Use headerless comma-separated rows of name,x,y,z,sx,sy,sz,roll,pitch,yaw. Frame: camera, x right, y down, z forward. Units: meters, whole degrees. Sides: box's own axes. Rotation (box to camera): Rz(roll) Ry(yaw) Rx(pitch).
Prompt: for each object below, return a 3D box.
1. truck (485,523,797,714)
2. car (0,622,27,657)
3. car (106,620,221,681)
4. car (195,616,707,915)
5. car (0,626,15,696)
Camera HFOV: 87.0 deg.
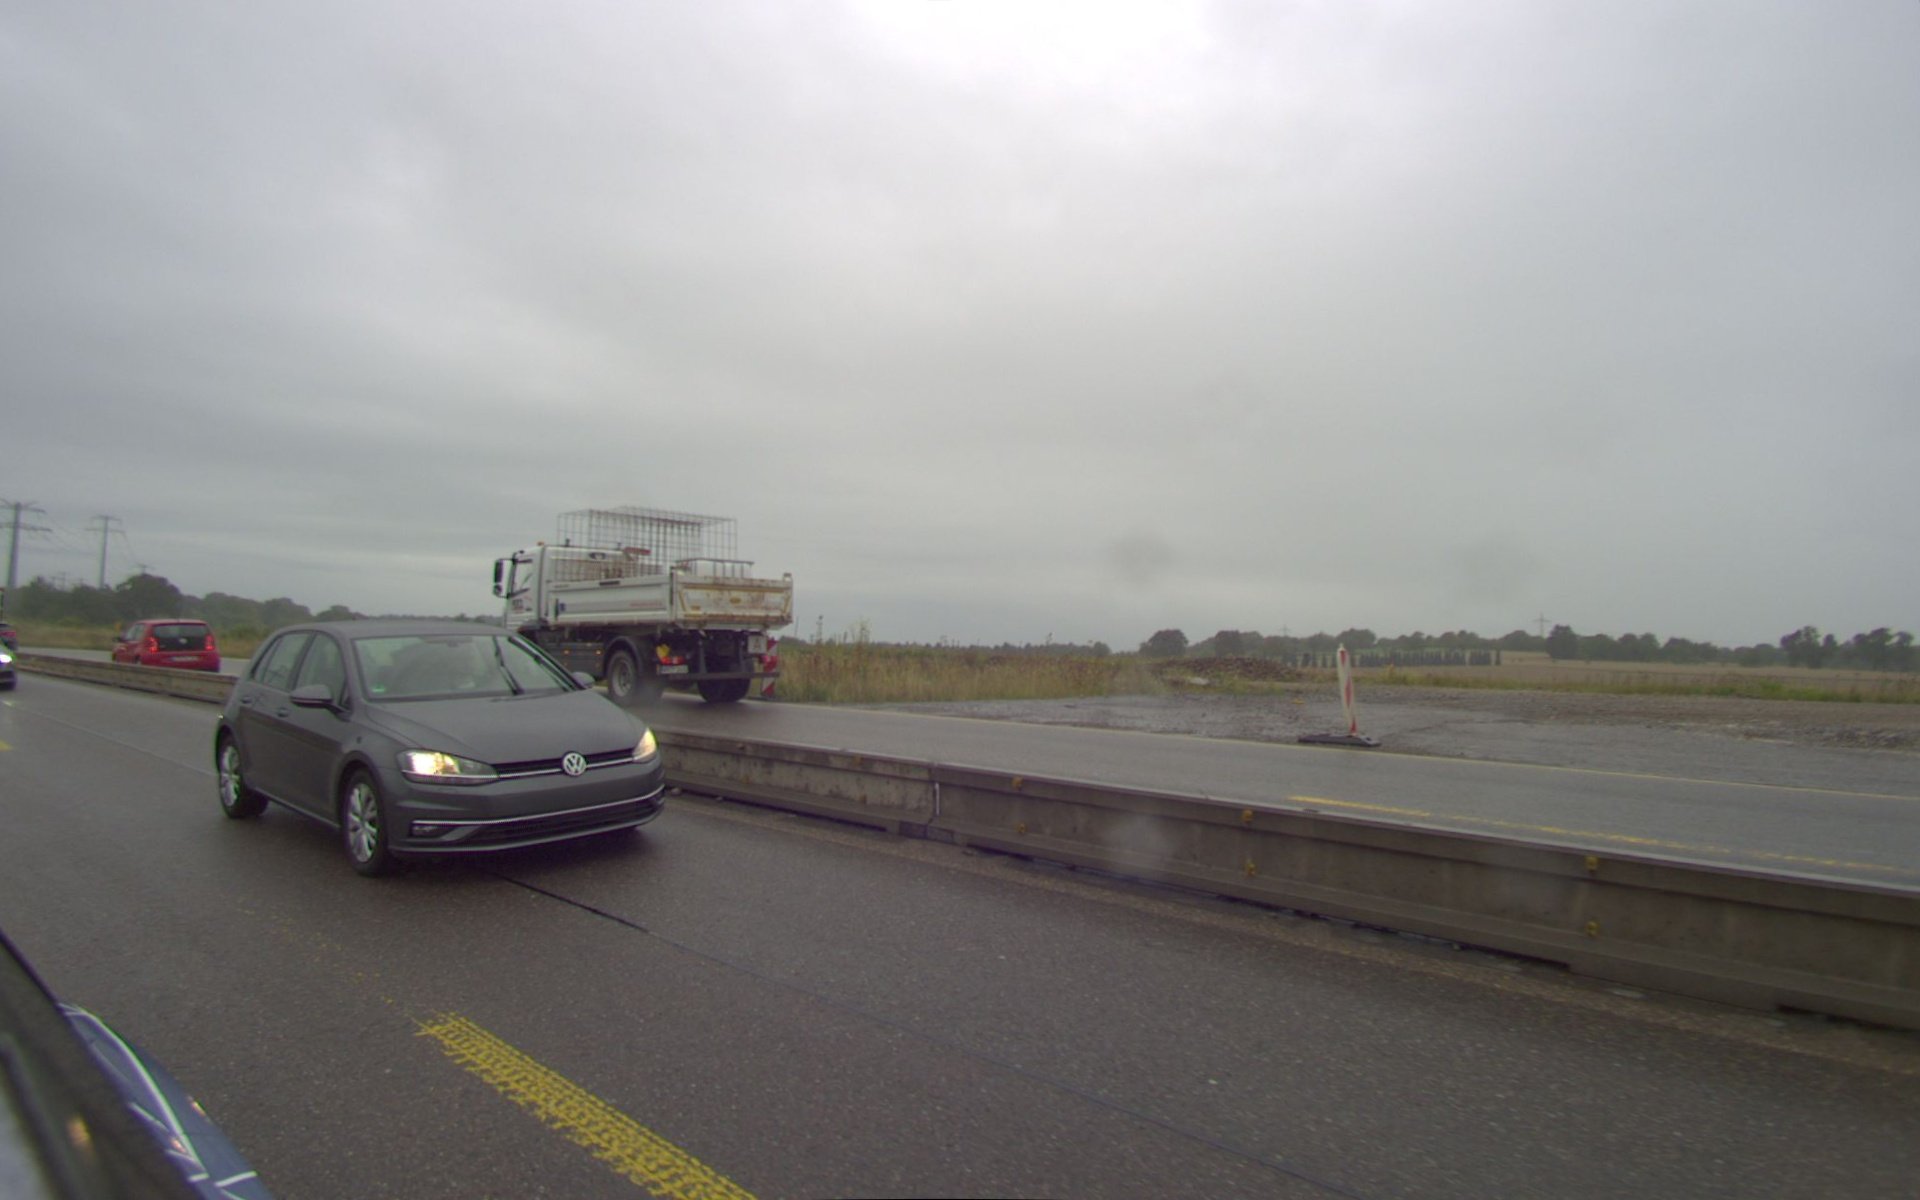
truck,-6.014,0.385,18.493,6.545,2.916,2.334,-1,-3,41
car,-43.079,1.725,45.002,4.694,1.454,1.807,-1,-1,40
car,-20.091,1.213,25.485,3.590,1.407,1.621,-1,0,41
car,-3.633,0.839,6.889,4.077,1.433,1.633,0,-1,40
car,-21.678,1.285,21.583,4.266,1.407,1.777,-1,0,40
